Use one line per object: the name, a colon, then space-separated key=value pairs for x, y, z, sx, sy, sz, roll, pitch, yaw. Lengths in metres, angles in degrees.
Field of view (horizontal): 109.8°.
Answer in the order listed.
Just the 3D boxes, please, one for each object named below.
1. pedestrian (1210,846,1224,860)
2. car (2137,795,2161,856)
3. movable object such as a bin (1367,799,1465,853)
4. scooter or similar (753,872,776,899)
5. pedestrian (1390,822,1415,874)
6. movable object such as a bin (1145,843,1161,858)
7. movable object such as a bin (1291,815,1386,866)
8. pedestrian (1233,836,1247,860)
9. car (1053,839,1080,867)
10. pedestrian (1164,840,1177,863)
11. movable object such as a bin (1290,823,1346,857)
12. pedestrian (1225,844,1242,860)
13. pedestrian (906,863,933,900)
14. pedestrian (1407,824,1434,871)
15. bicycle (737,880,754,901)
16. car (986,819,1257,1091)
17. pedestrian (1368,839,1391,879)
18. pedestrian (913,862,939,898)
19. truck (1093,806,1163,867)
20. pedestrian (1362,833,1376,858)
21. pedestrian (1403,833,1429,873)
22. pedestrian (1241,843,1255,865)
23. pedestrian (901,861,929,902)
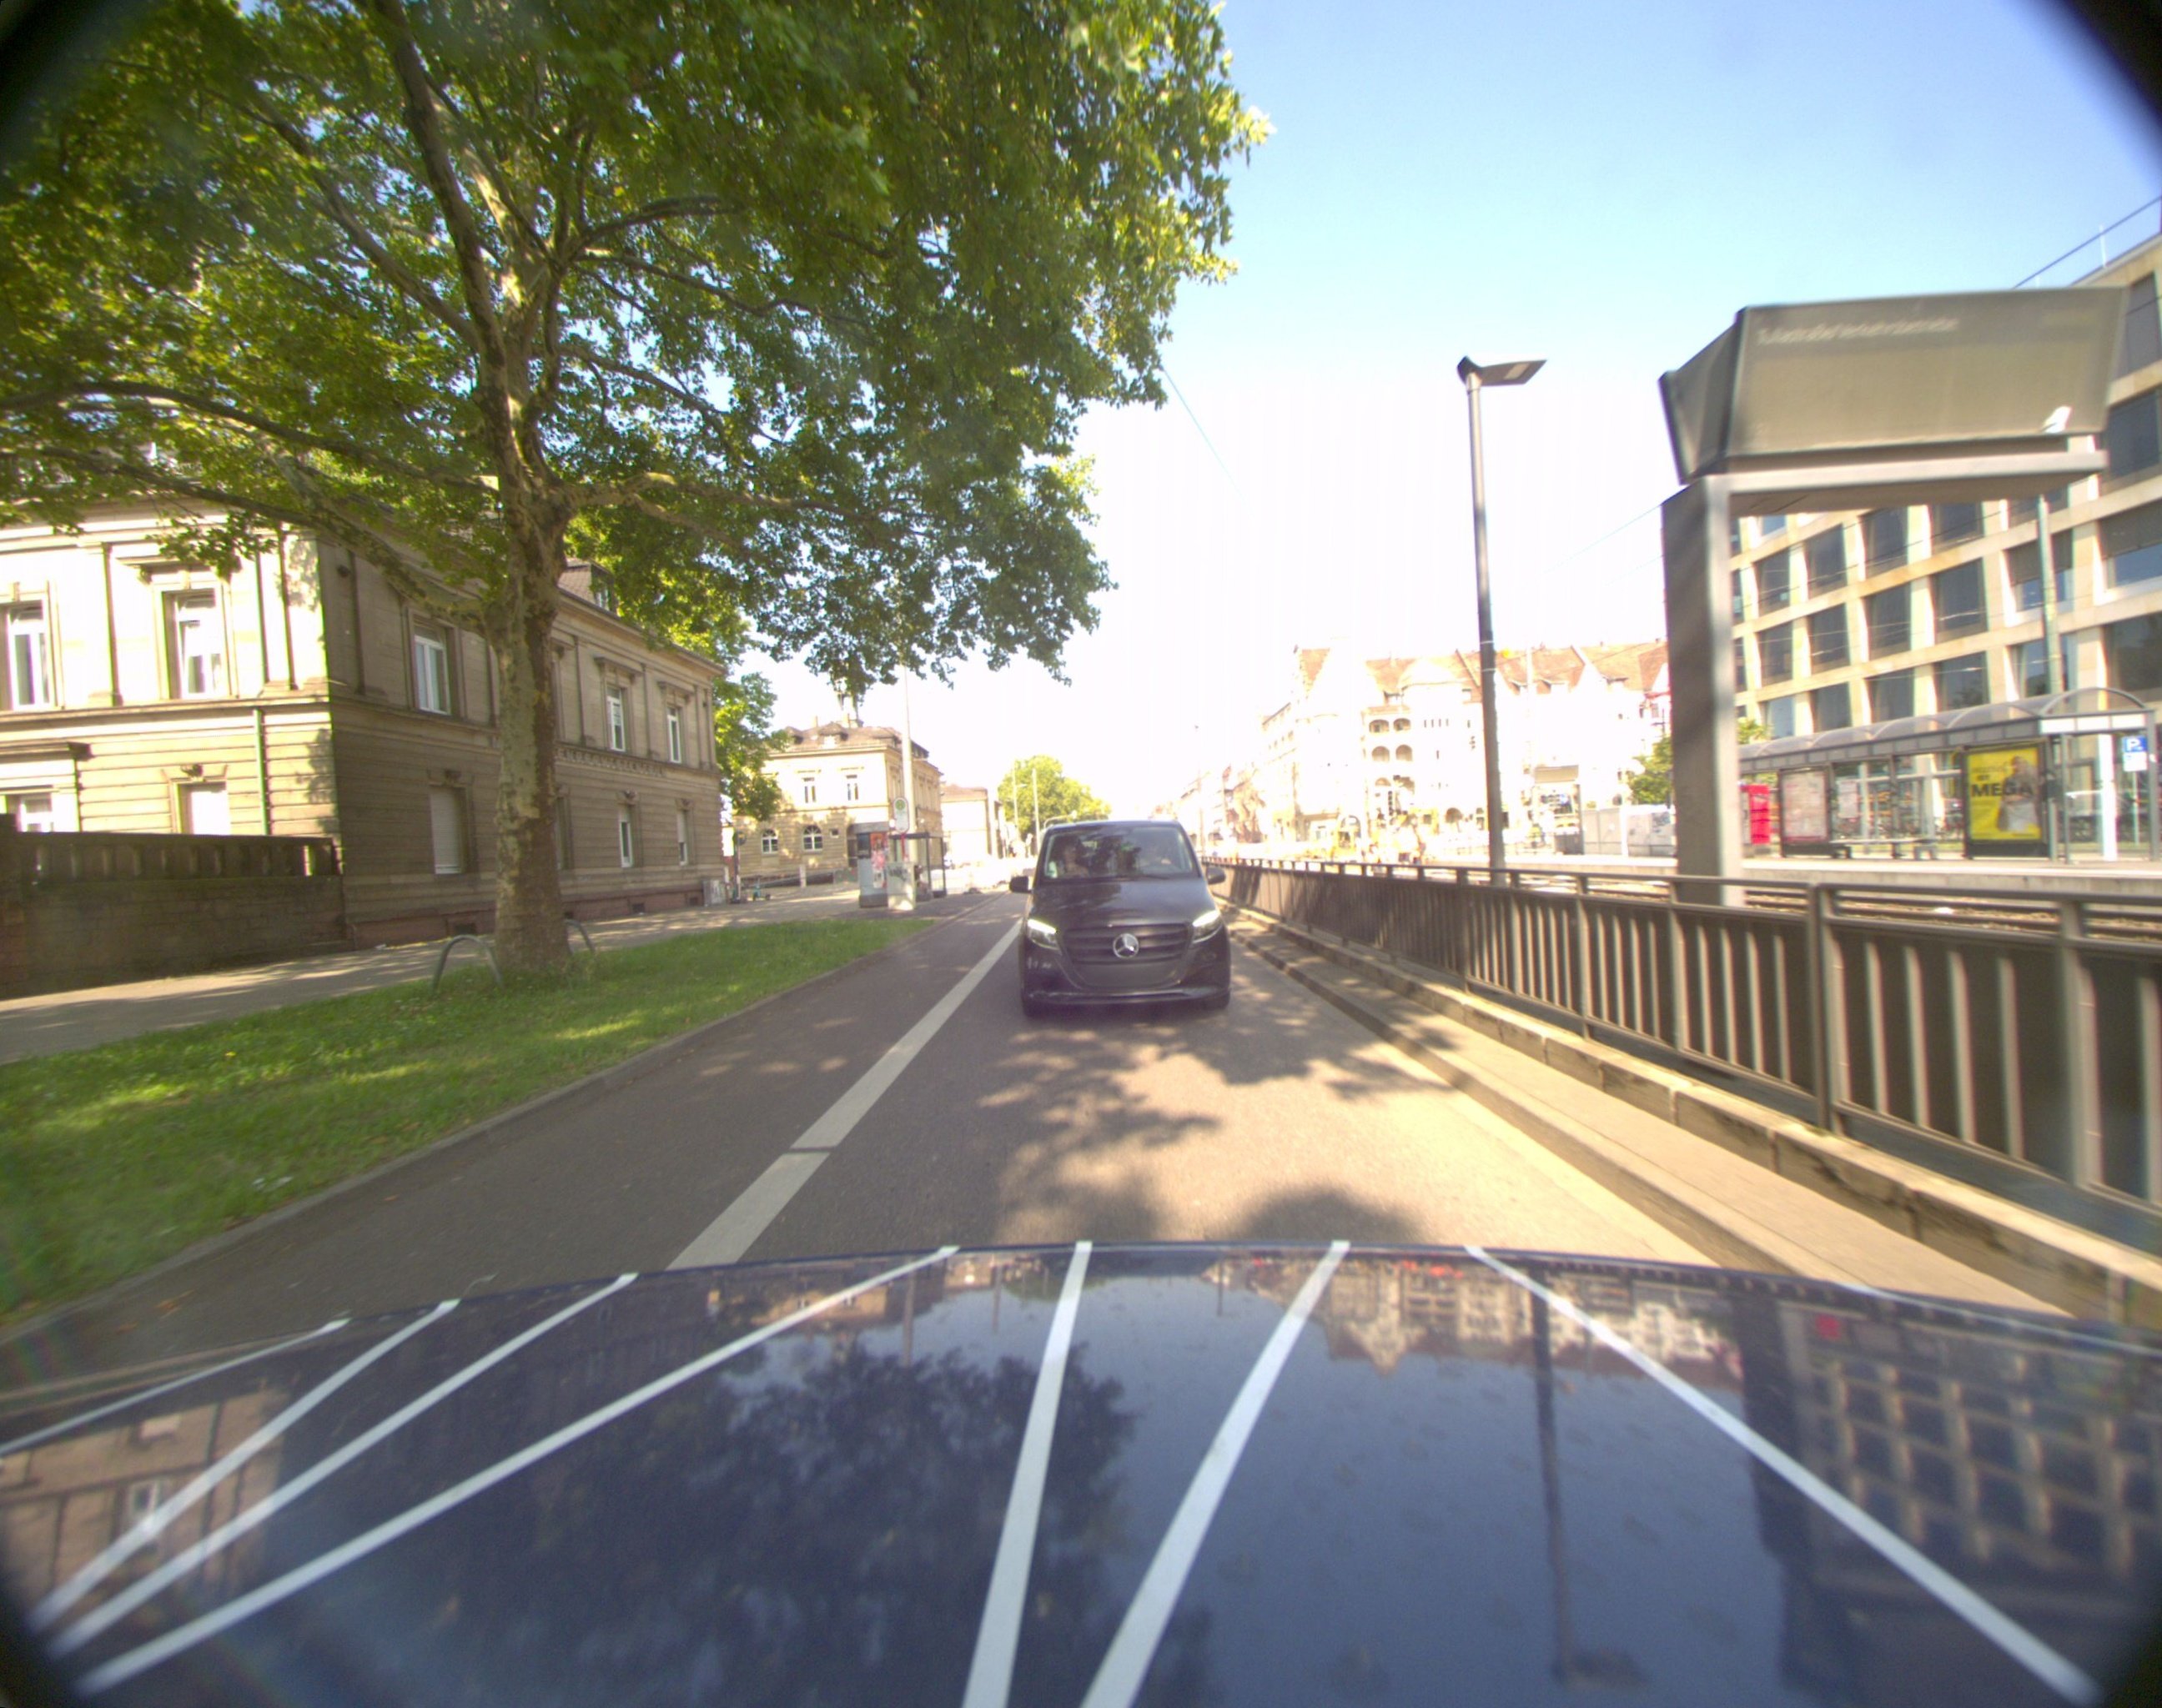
pedestrian: x=8.843 y=-0.065 z=49.406 sx=0.821 sy=0.920 sz=0.513 roll=-3 pitch=1 yaw=12
car: x=25.674 y=-0.681 z=15.778 sx=1.906 sy=1.395 sz=4.000 roll=-3 pitch=0 yaw=0
movable object such as a bin: x=30.597 y=-2.557 z=69.912 sx=7.368 sy=4.323 sz=4.973 roll=-3 pitch=2 yaw=15
scooter or similar: x=-15.320 y=1.513 z=36.818 sx=0.426 sy=1.221 sz=1.174 roll=-3 pitch=1 yaw=8
pedestrian: x=12.307 y=-0.222 z=29.114 sx=0.724 sy=1.939 sz=0.789 roll=-3 pitch=1 yaw=16
movable object such as a bin: x=8.157 y=-0.422 z=86.445 sx=1.604 sy=1.550 sz=3.286 roll=-3 pitch=1 yaw=3
movable object such as a bin: x=17.494 y=-0.950 z=52.402 sx=3.622 sy=2.941 sz=8.474 roll=-5 pitch=2 yaw=1
pedestrian: x=10.675 y=-0.381 z=51.066 sx=0.816 sy=1.557 sz=0.557 roll=-3 pitch=1 yaw=20
car: x=-1.423 y=-0.160 z=72.371 sx=2.213 sy=2.410 sz=7.196 roll=-3 pitch=1 yaw=-3
pedestrian: x=6.201 y=-0.167 z=52.681 sx=0.762 sy=1.557 sz=0.691 roll=-3 pitch=1 yaw=1
movable object such as a bin: x=21.992 y=-1.303 z=70.332 sx=4.824 sy=2.818 sz=2.443 roll=-4 pitch=1 yaw=-36
pedestrian: x=10.000 y=-0.145 z=49.923 sx=0.932 sy=0.982 sz=0.513 roll=-2 pitch=1 yaw=42
pedestrian: x=-5.964 y=1.002 z=28.057 sx=0.742 sy=1.254 sz=0.611 roll=-5 pitch=2 yaw=1
pedestrian: x=13.185 y=-0.251 z=29.533 sx=0.627 sy=1.805 sz=0.639 roll=-3 pitch=1 yaw=-31
bicycle: x=-16.641 y=1.821 z=37.690 sx=0.493 sy=0.993 sz=1.816 roll=-3 pitch=-2 yaw=-18
car: x=0.343 y=0.655 z=7.472 sx=1.853 sy=1.876 sz=4.177 roll=-2 pitch=2 yaw=1
pedestrian: x=12.623 y=0.216 z=32.161 sx=0.667 sy=1.653 sz=0.773 roll=-2 pitch=1 yaw=35
pedestrian: x=-5.894 y=0.975 z=28.844 sx=0.742 sy=1.254 sz=0.611 roll=-5 pitch=2 yaw=1
truck: x=3.295 y=-1.154 z=55.907 sx=2.802 sy=3.890 sz=8.411 roll=-5 pitch=0 yaw=-11
pedestrian: x=20.900 y=-0.598 z=55.203 sx=0.832 sy=1.739 sz=0.669 roll=-3 pitch=1 yaw=19
pedestrian: x=13.561 y=-0.041 z=30.751 sx=0.641 sy=1.545 sz=0.625 roll=-3 pitch=1 yaw=-25
pedestrian: x=12.104 y=0.030 z=55.016 sx=0.703 sy=1.557 sz=0.556 roll=-3 pitch=1 yaw=-16
pedestrian: x=-5.986 y=0.985 z=27.389 sx=0.752 sy=1.358 sz=0.611 roll=-5 pitch=2 yaw=1
